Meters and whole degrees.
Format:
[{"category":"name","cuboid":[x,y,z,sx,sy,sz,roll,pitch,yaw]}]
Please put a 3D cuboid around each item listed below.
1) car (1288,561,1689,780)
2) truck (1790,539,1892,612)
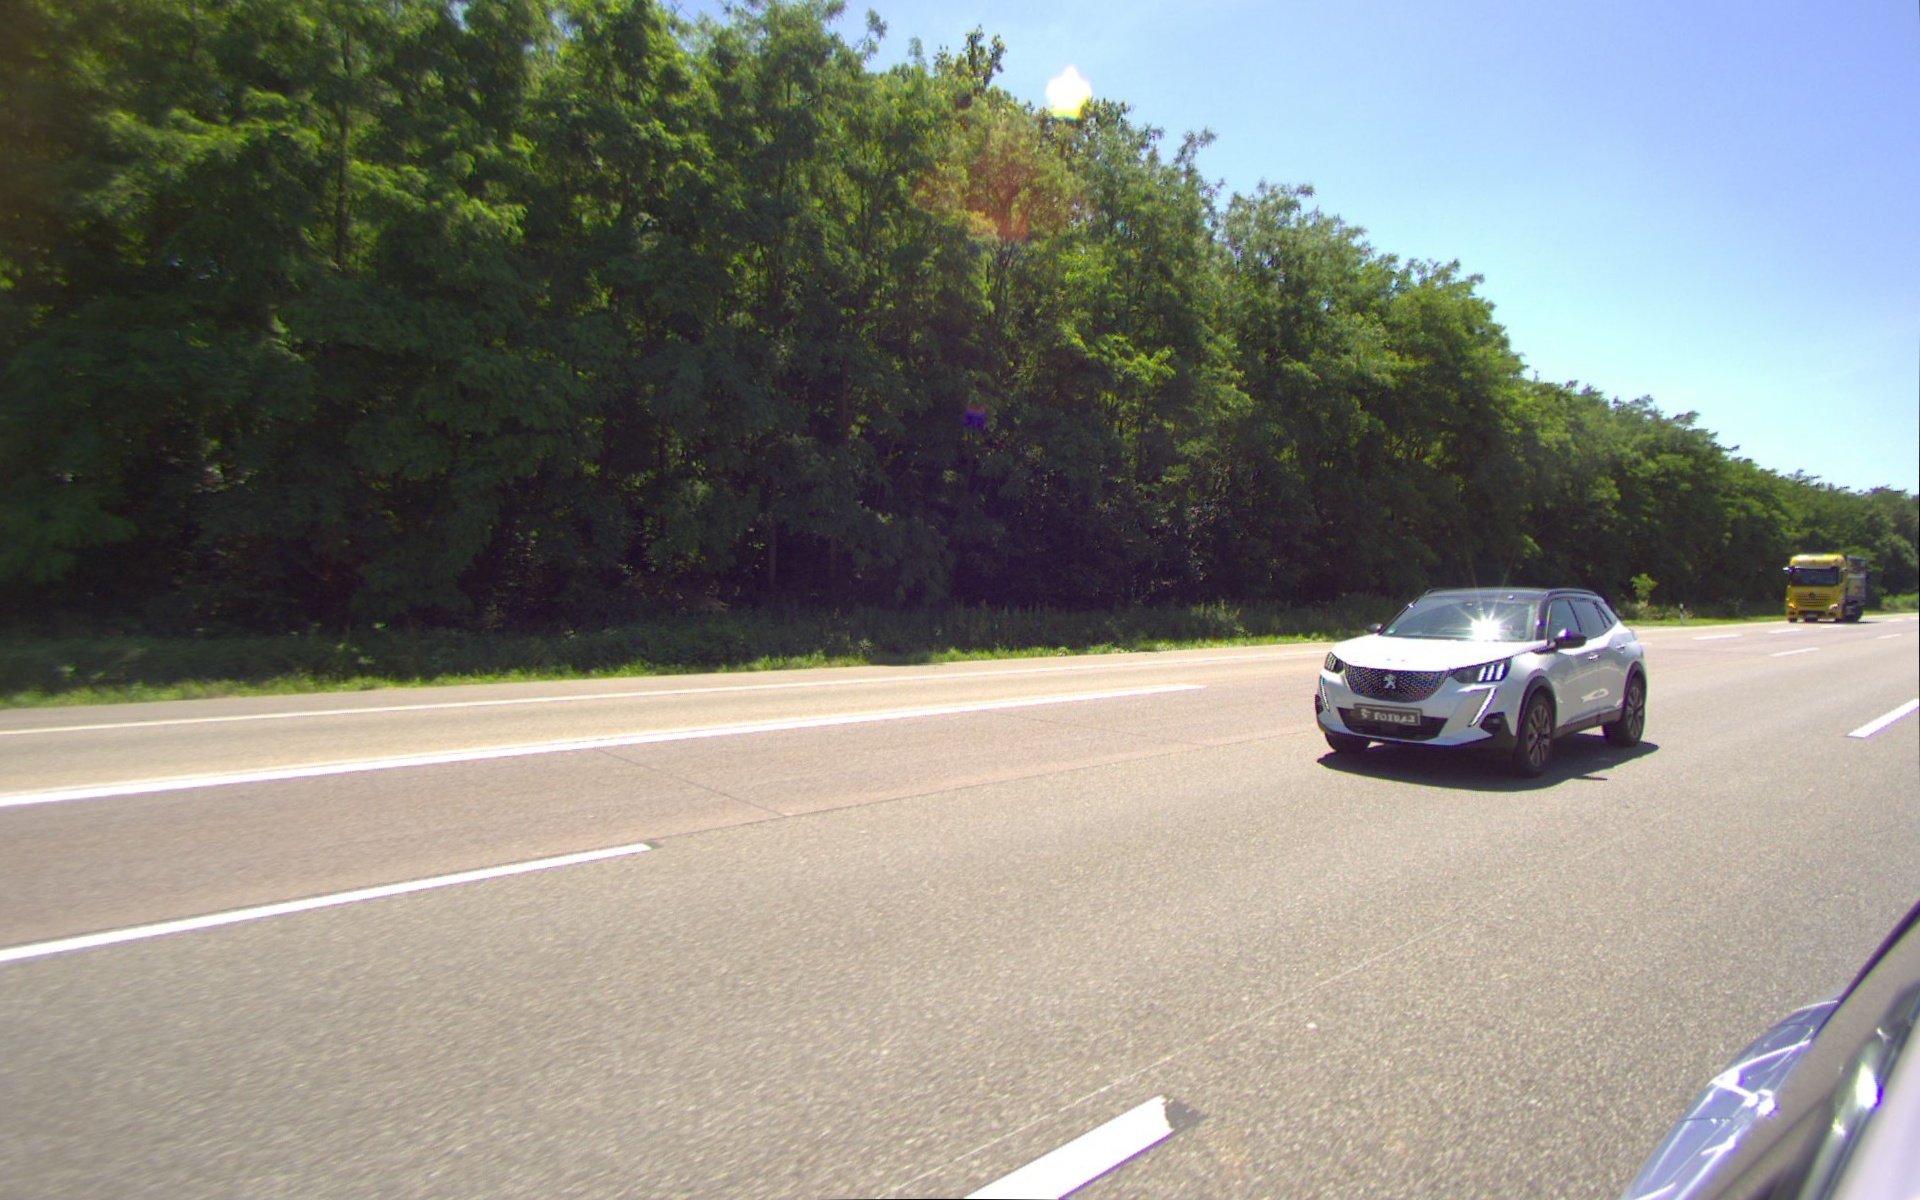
[{"category":"car","cuboid":[5.259,0.490,9.754,4.725,1.628,1.830,0,1,-41]},{"category":"truck","cuboid":[53.634,-1.419,61.480,10.786,4.088,2.981,0,0,-40]}]
